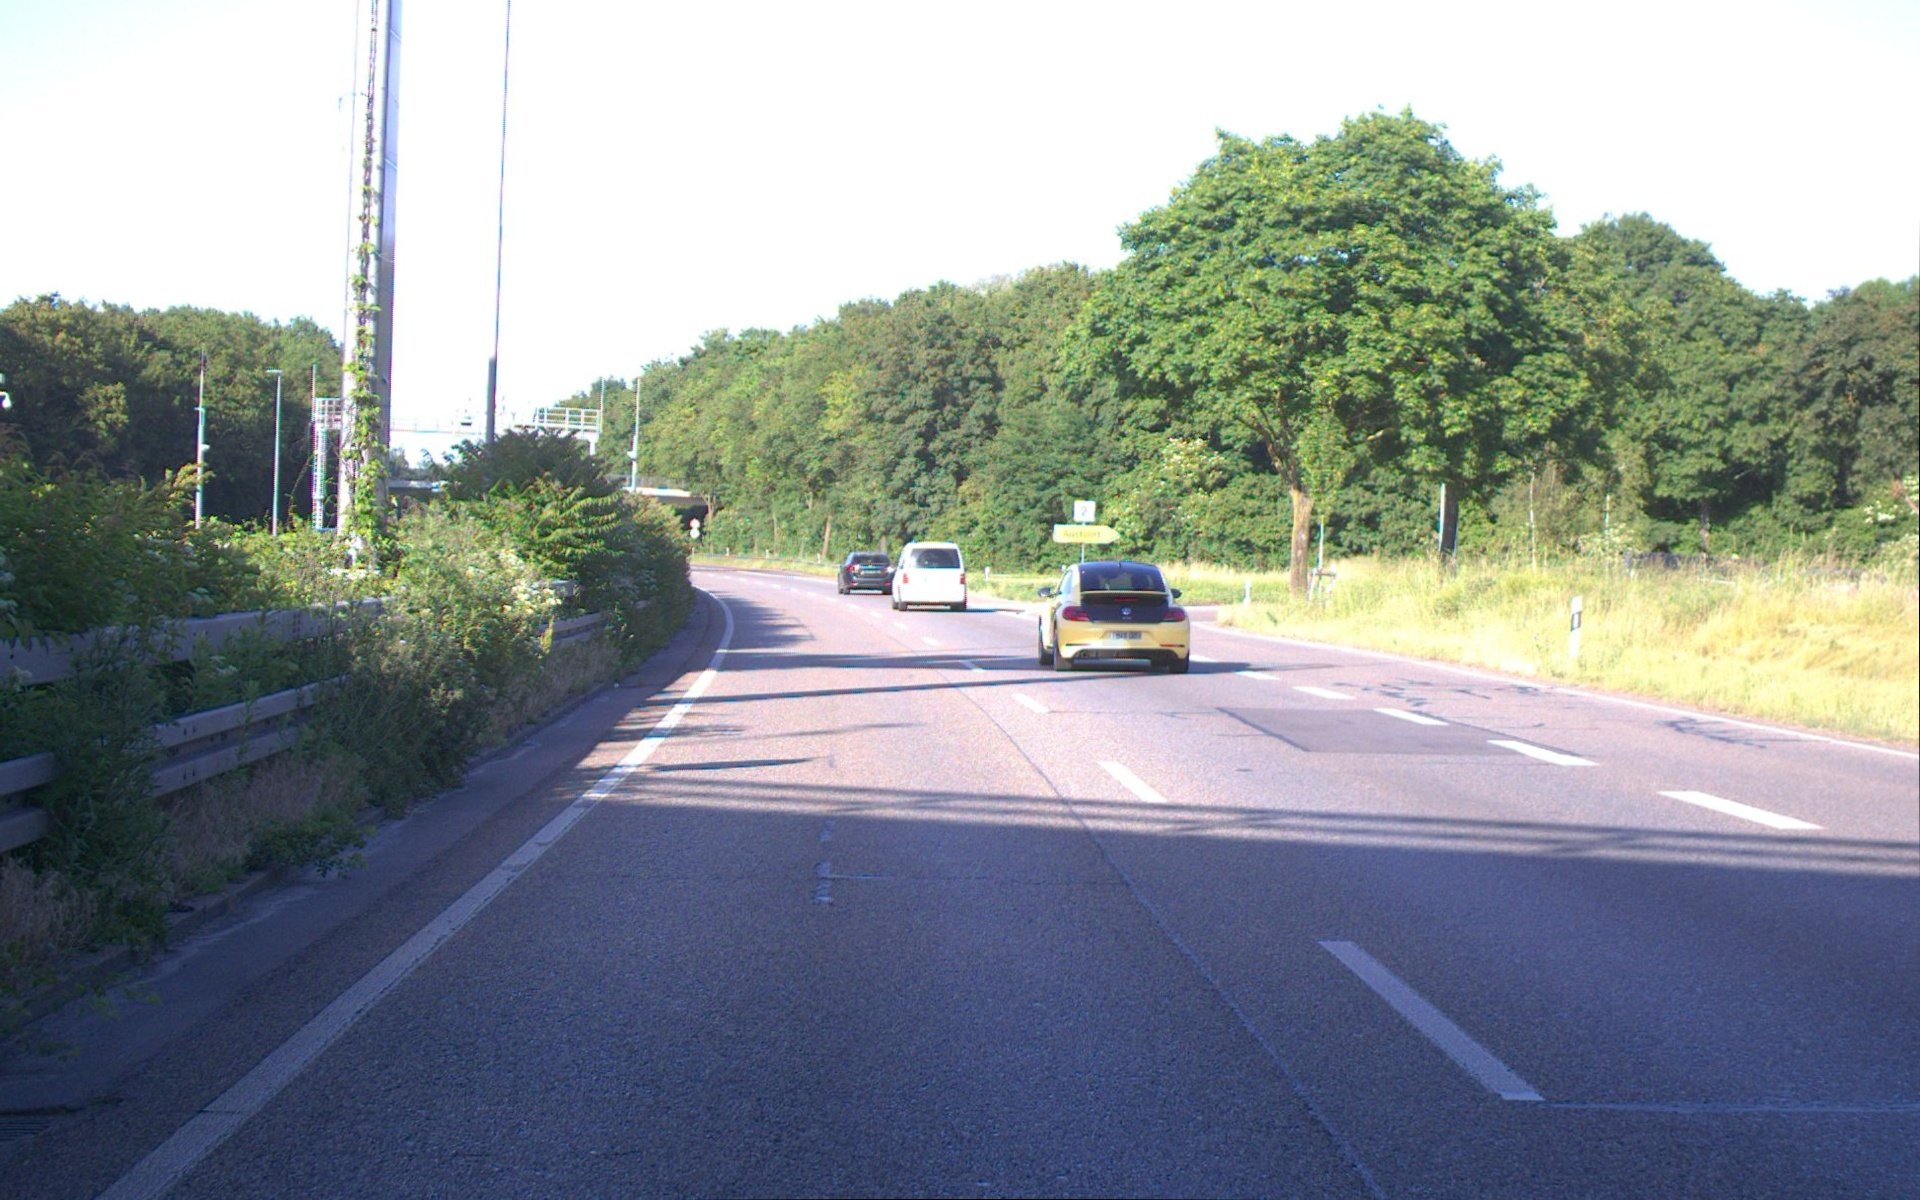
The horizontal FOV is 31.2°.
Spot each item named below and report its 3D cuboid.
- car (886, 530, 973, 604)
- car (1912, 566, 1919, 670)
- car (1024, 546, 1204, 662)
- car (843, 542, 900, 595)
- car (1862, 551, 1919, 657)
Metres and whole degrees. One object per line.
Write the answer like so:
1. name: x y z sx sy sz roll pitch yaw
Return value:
1. car: -0.812 -0.835 89.535 1.897 1.761 4.000 2 -1 -5
2. car: 20.982 0.406 65.946 4.788 2.016 2.026 2 -2 -7
3. car: 2.041 0.024 46.705 1.897 1.466 4.001 1 1 -5
4. car: -3.057 -1.097 118.960 1.897 1.761 4.000 1 1 -1
5. car: 20.735 0.165 68.730 4.788 2.016 2.026 2 -2 -7
